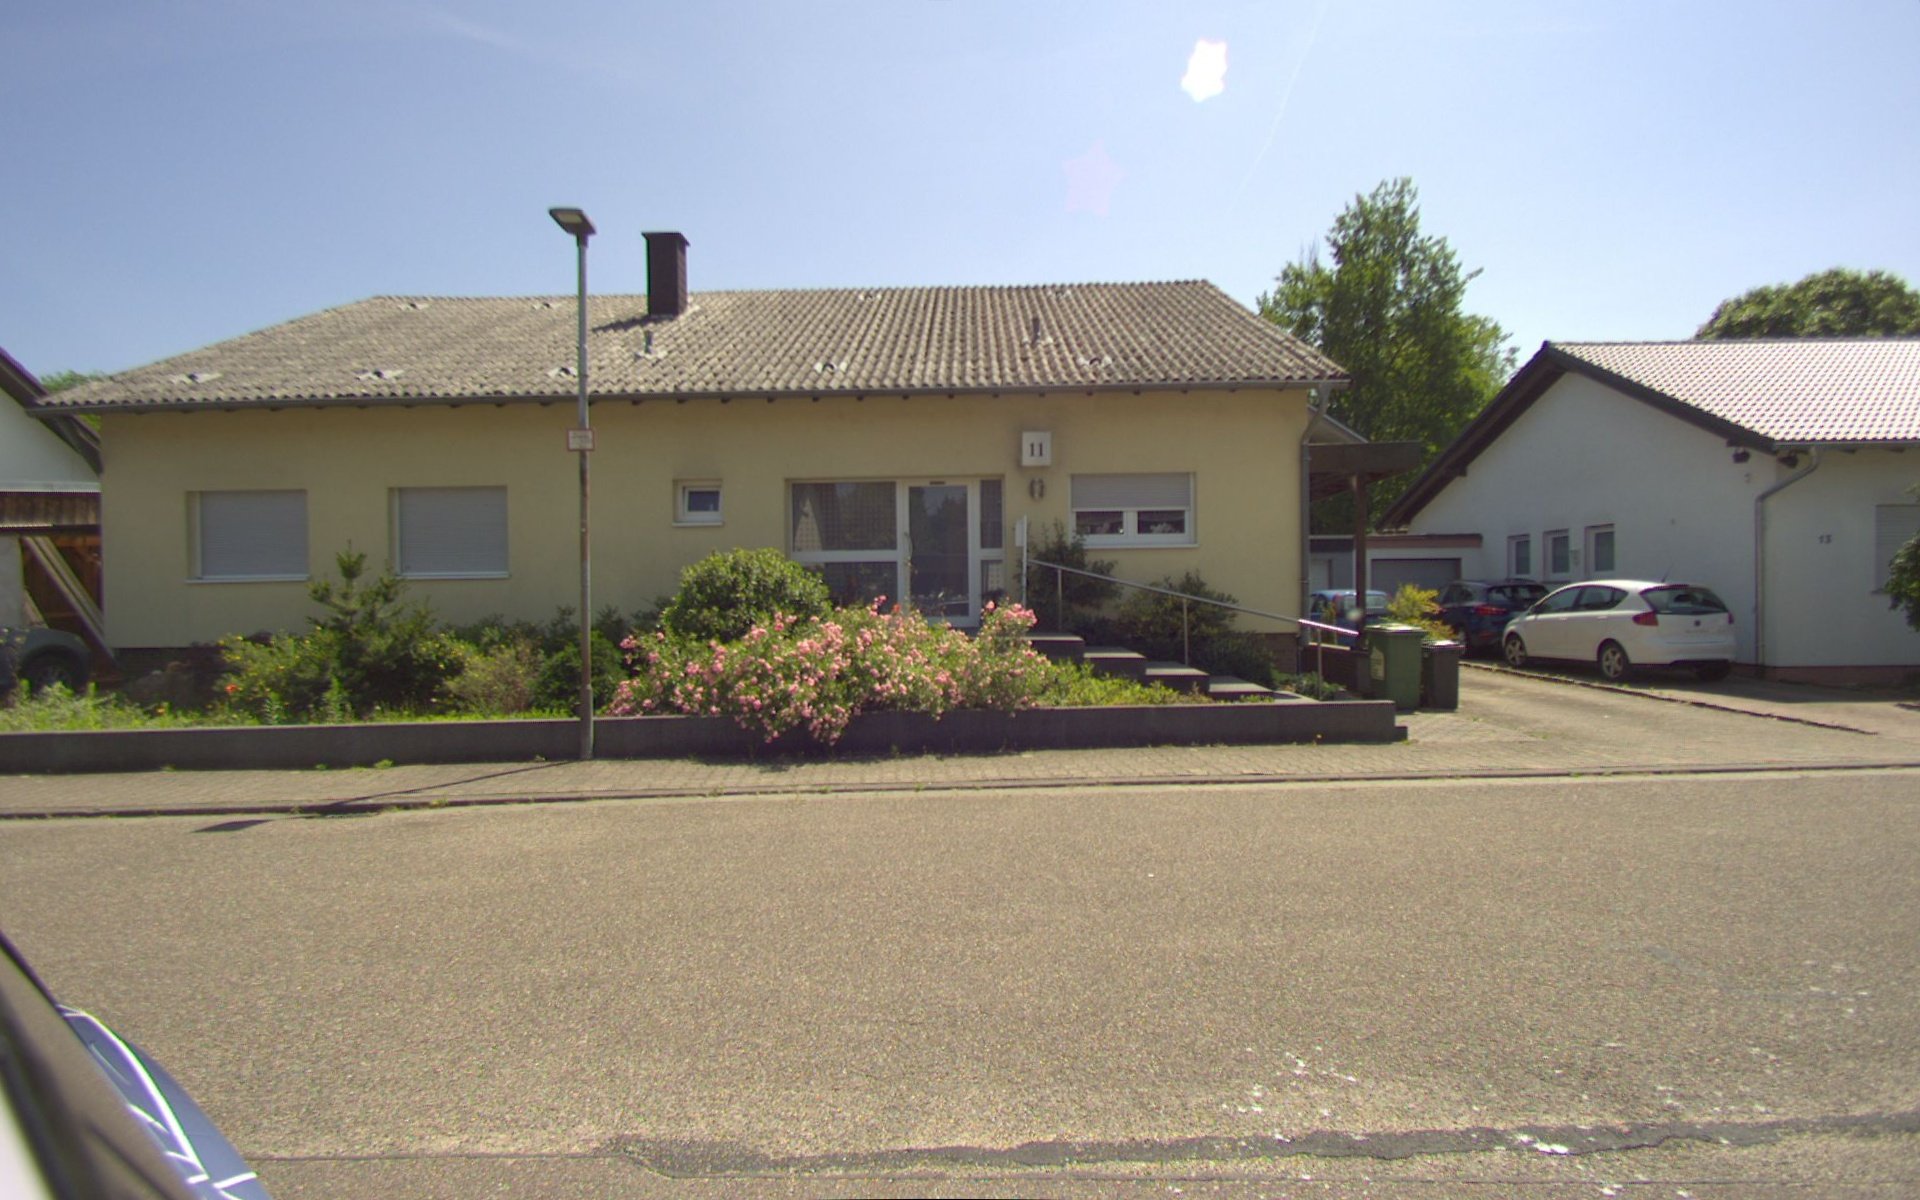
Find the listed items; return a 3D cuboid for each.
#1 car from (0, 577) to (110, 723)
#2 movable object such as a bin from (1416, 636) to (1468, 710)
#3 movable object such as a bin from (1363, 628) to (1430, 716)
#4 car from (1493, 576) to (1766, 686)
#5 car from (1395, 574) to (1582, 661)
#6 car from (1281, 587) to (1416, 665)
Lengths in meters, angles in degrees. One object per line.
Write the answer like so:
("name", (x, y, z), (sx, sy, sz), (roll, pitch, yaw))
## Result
("car", (-12.210, 0.627, 11.087), (1.687, 1.715, 4.637), (-1, 1, 4))
("movable object such as a bin", (6.068, 0.910, 12.747), (0.401, 0.898, 0.427), (-1, 0, -7))
("movable object such as a bin", (5.494, 0.895, 12.749), (0.584, 1.049, 0.492), (-1, 0, -6))
("car", (10.840, 0.453, 16.785), (1.726, 1.580, 4.002), (-1, 0, -2))
("car", (11.010, 0.318, 21.439), (1.903, 1.620, 3.998), (-1, 1, 1))
("car", (7.977, 0.488, 21.068), (1.597, 1.466, 3.253), (0, 1, 1))
